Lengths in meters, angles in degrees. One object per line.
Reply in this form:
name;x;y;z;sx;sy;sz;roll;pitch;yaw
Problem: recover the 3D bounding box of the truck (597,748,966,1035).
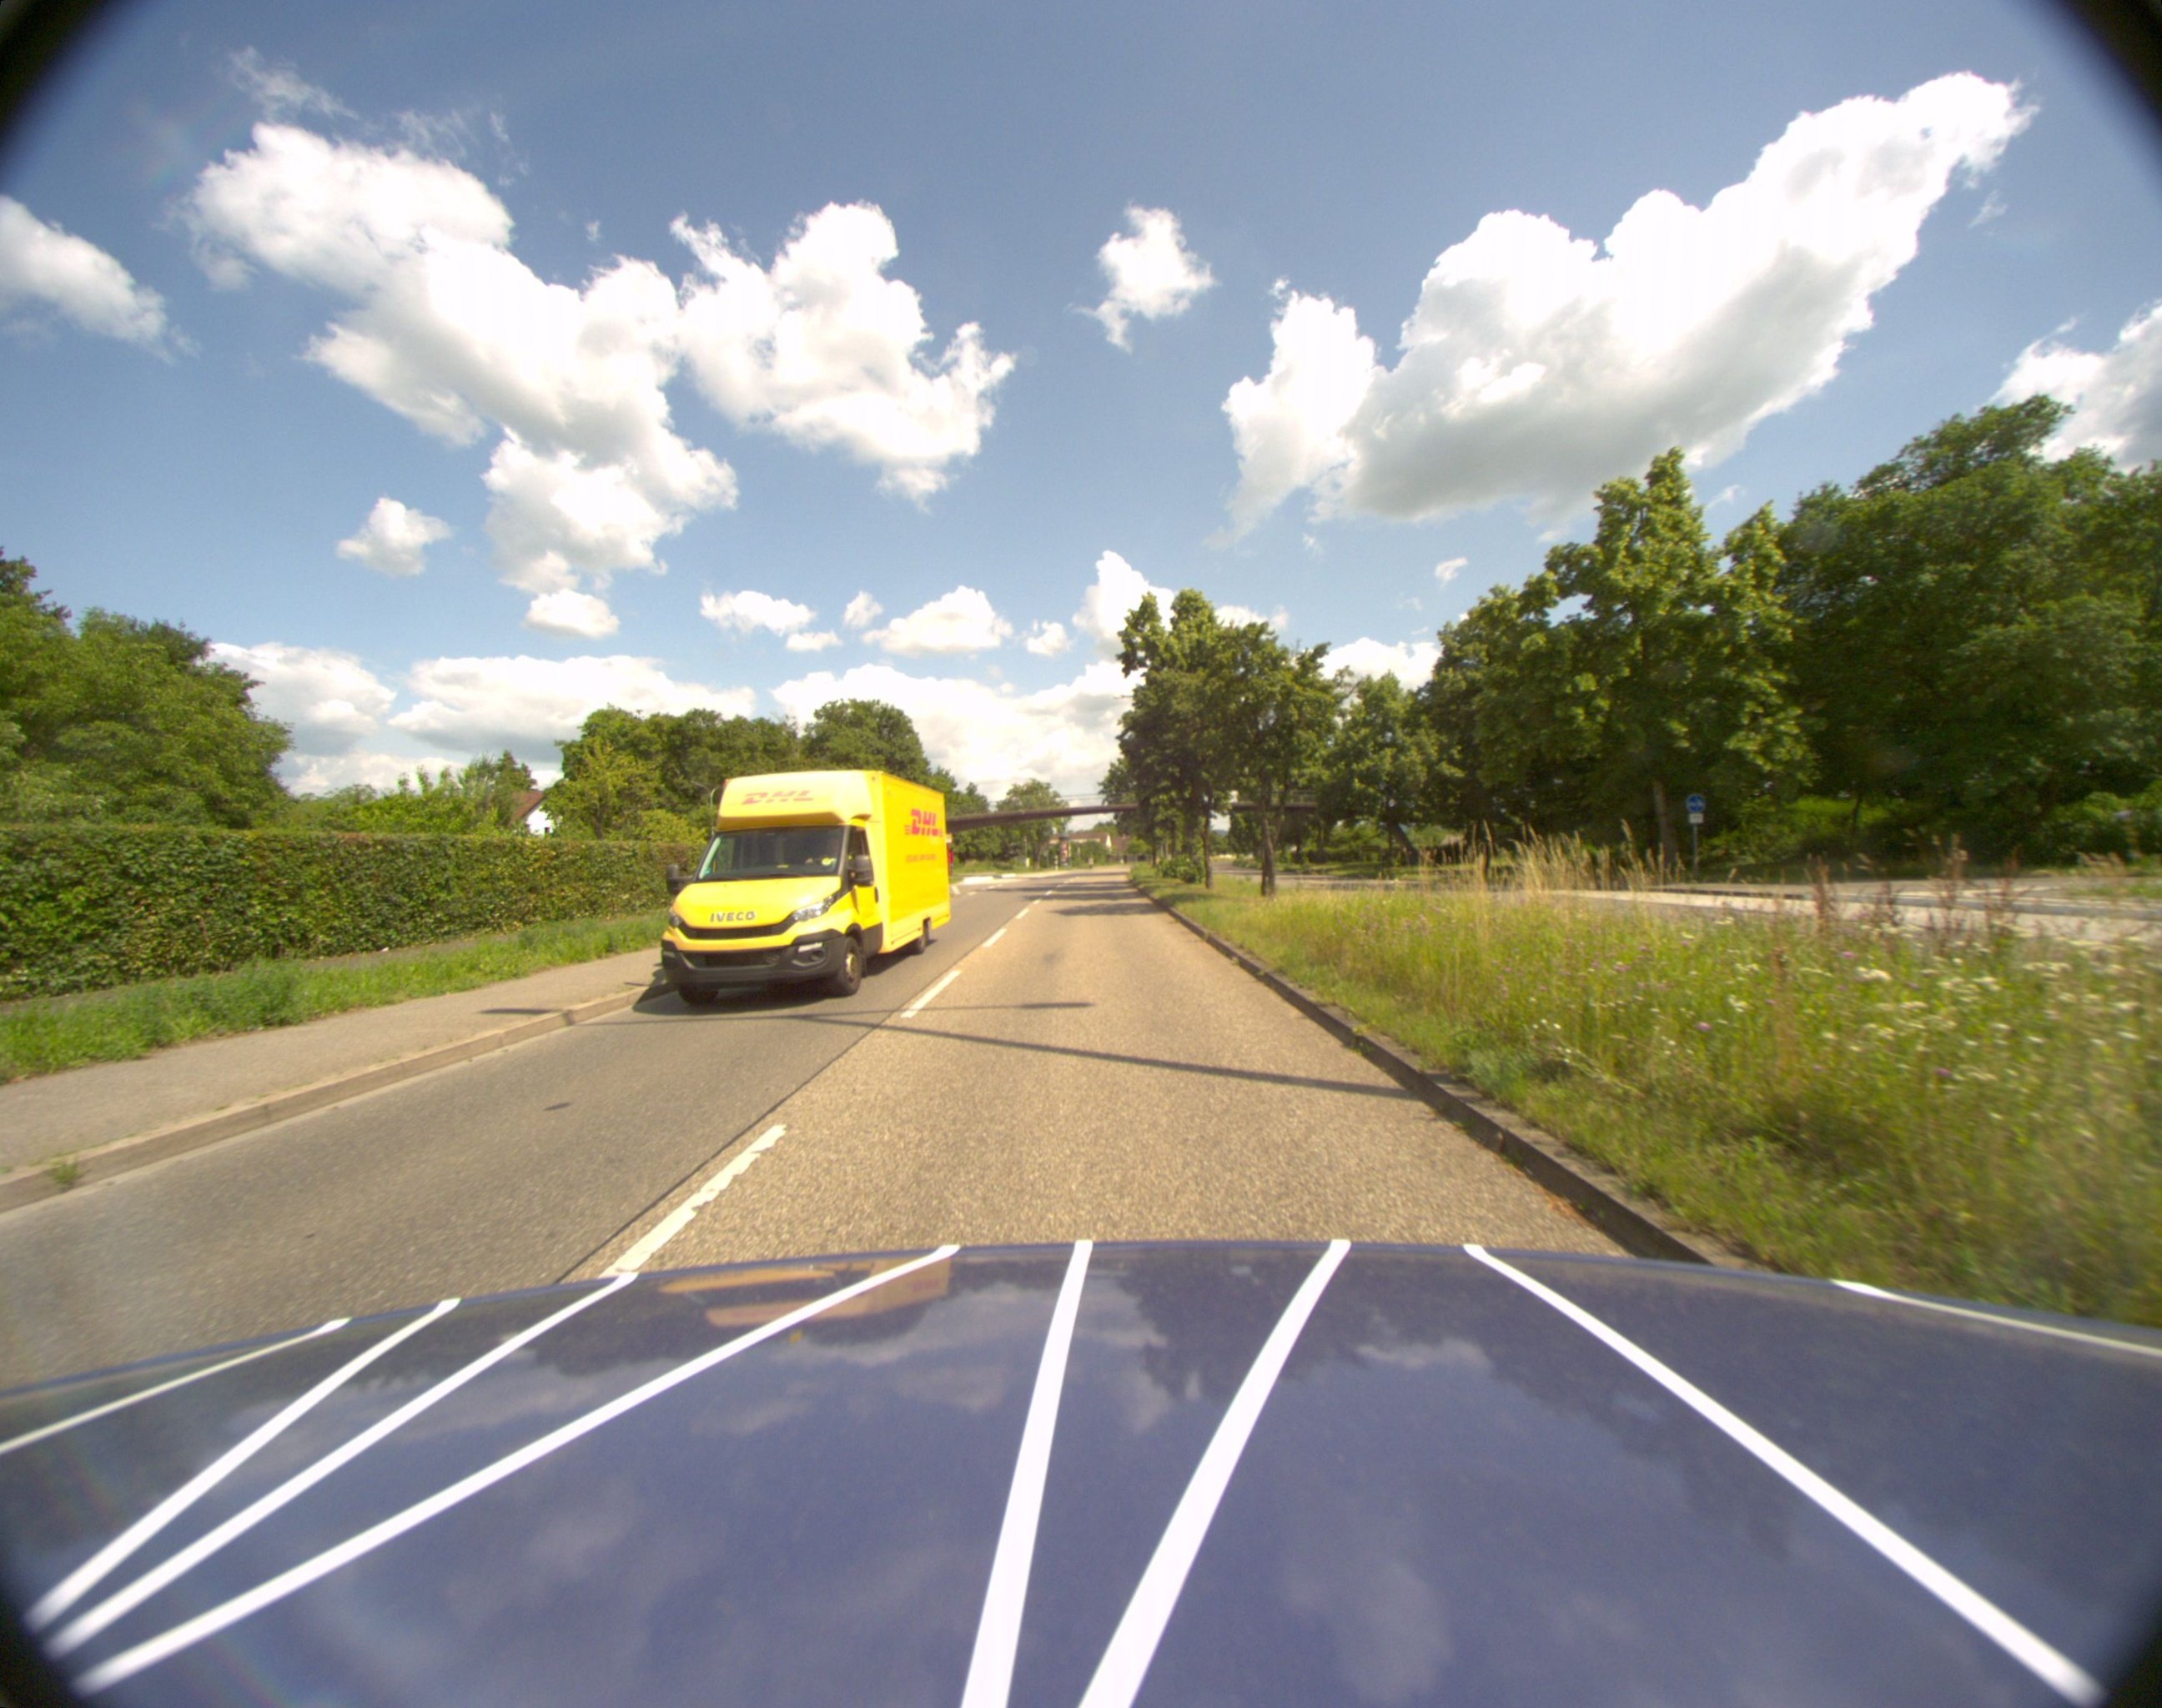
truck;-3.717;0.373;11.893;2.270;2.864;8.028;-3;0;1
